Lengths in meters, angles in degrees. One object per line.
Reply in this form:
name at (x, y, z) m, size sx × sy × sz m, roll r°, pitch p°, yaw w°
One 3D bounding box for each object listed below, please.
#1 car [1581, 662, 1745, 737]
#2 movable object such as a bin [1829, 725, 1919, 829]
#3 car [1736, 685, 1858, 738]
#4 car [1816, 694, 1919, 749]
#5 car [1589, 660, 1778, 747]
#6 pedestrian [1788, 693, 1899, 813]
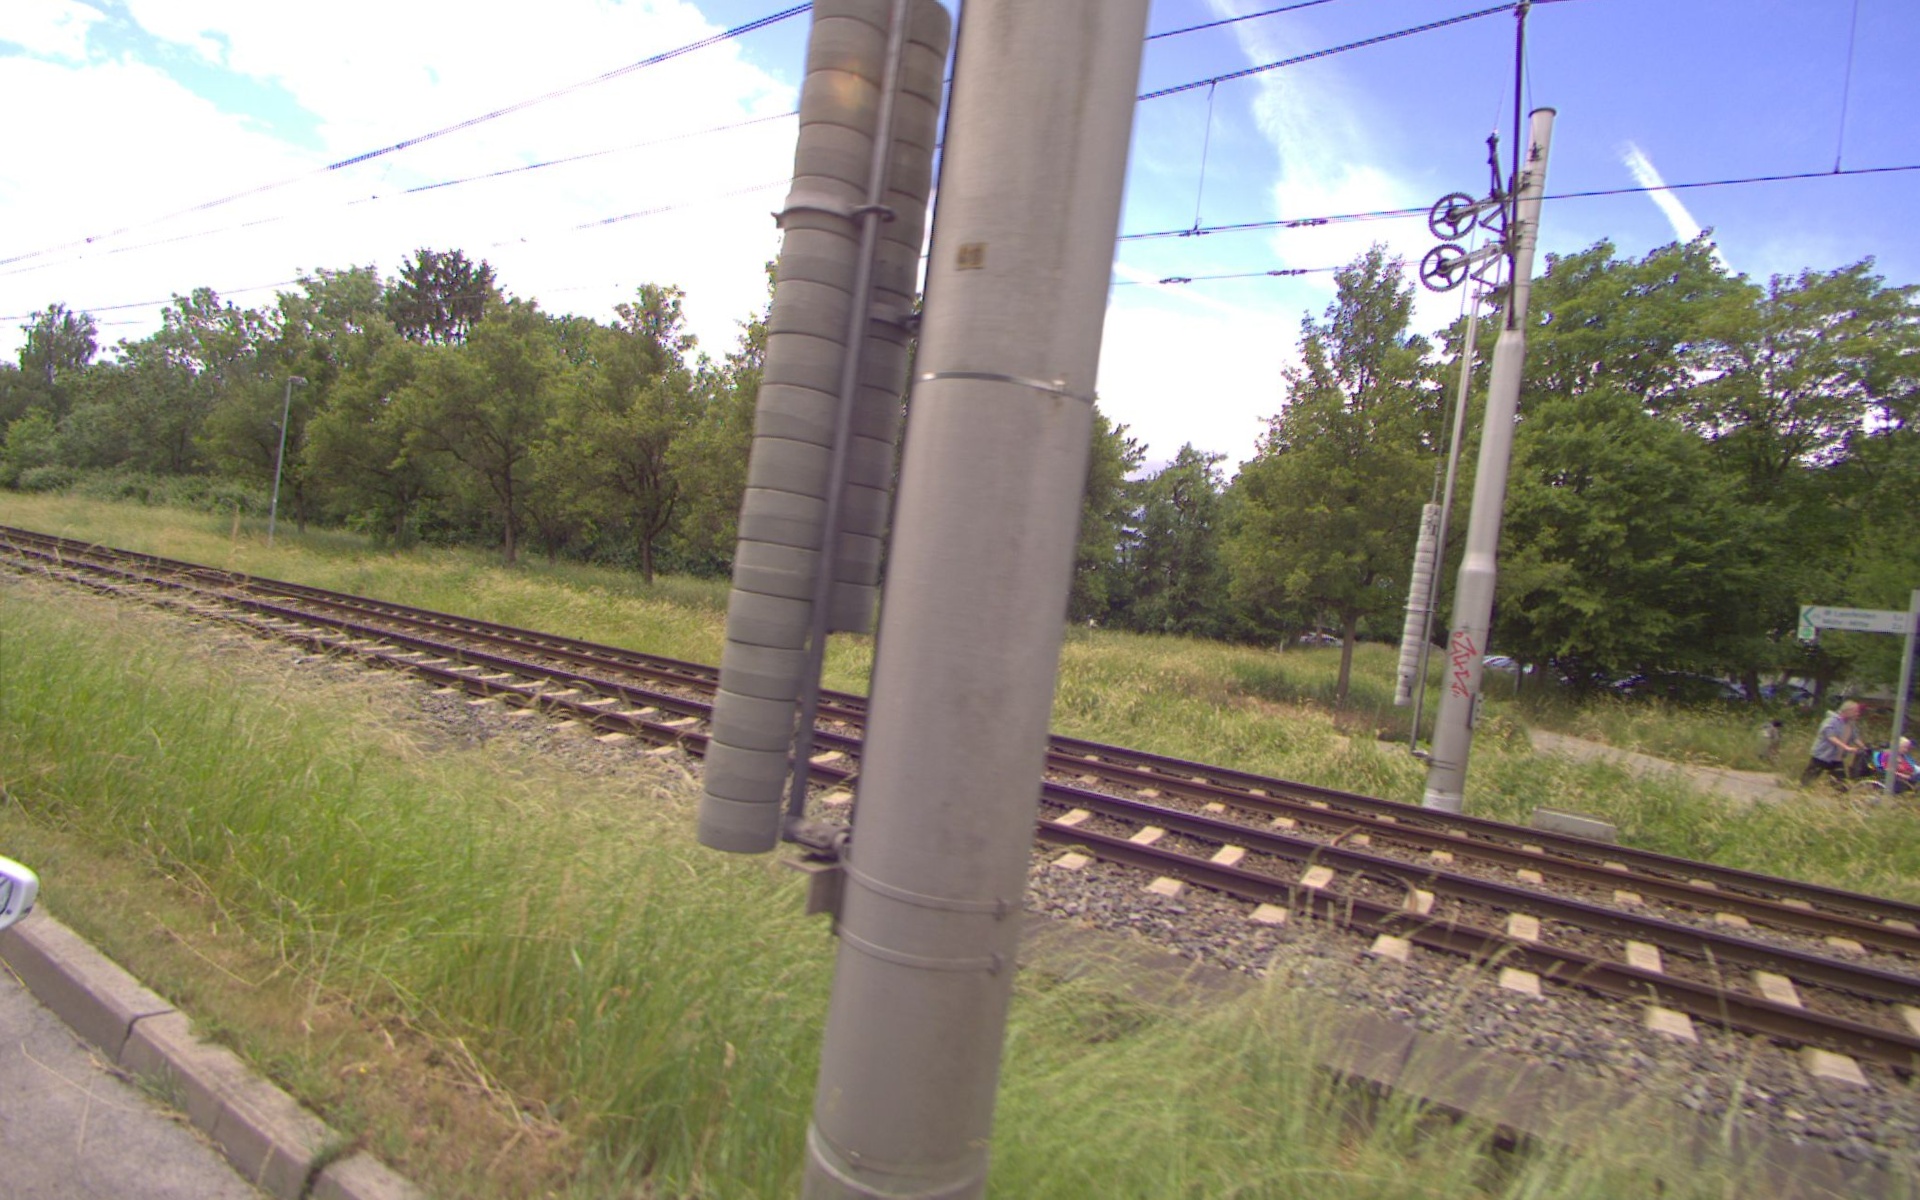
car at (23.151, 3.242, 33.283) m, size 3.925 × 1.826 × 1.749 m, roll 7°, pitch 0°, yaw 19°
movable object such as a bin at (14.070, 2.660, 14.880) m, size 0.650 × 1.327 × 1.636 m, roll 6°, pitch 1°, yaw -17°
car at (38.300, 5.081, 46.125) m, size 3.743 × 1.755 × 1.831 m, roll 8°, pitch 0°, yaw 6°
car at (38.017, 5.056, 41.355) m, size 3.743 × 1.755 × 1.831 m, roll 8°, pitch 0°, yaw 6°
car at (20.863, 2.942, 29.210) m, size 3.925 × 1.826 × 1.749 m, roll 7°, pitch 0°, yaw 19°
pedestrian at (13.840, 2.385, 15.777) m, size 0.648 × 1.688 × 0.955 m, roll 6°, pitch 1°, yaw -17°
